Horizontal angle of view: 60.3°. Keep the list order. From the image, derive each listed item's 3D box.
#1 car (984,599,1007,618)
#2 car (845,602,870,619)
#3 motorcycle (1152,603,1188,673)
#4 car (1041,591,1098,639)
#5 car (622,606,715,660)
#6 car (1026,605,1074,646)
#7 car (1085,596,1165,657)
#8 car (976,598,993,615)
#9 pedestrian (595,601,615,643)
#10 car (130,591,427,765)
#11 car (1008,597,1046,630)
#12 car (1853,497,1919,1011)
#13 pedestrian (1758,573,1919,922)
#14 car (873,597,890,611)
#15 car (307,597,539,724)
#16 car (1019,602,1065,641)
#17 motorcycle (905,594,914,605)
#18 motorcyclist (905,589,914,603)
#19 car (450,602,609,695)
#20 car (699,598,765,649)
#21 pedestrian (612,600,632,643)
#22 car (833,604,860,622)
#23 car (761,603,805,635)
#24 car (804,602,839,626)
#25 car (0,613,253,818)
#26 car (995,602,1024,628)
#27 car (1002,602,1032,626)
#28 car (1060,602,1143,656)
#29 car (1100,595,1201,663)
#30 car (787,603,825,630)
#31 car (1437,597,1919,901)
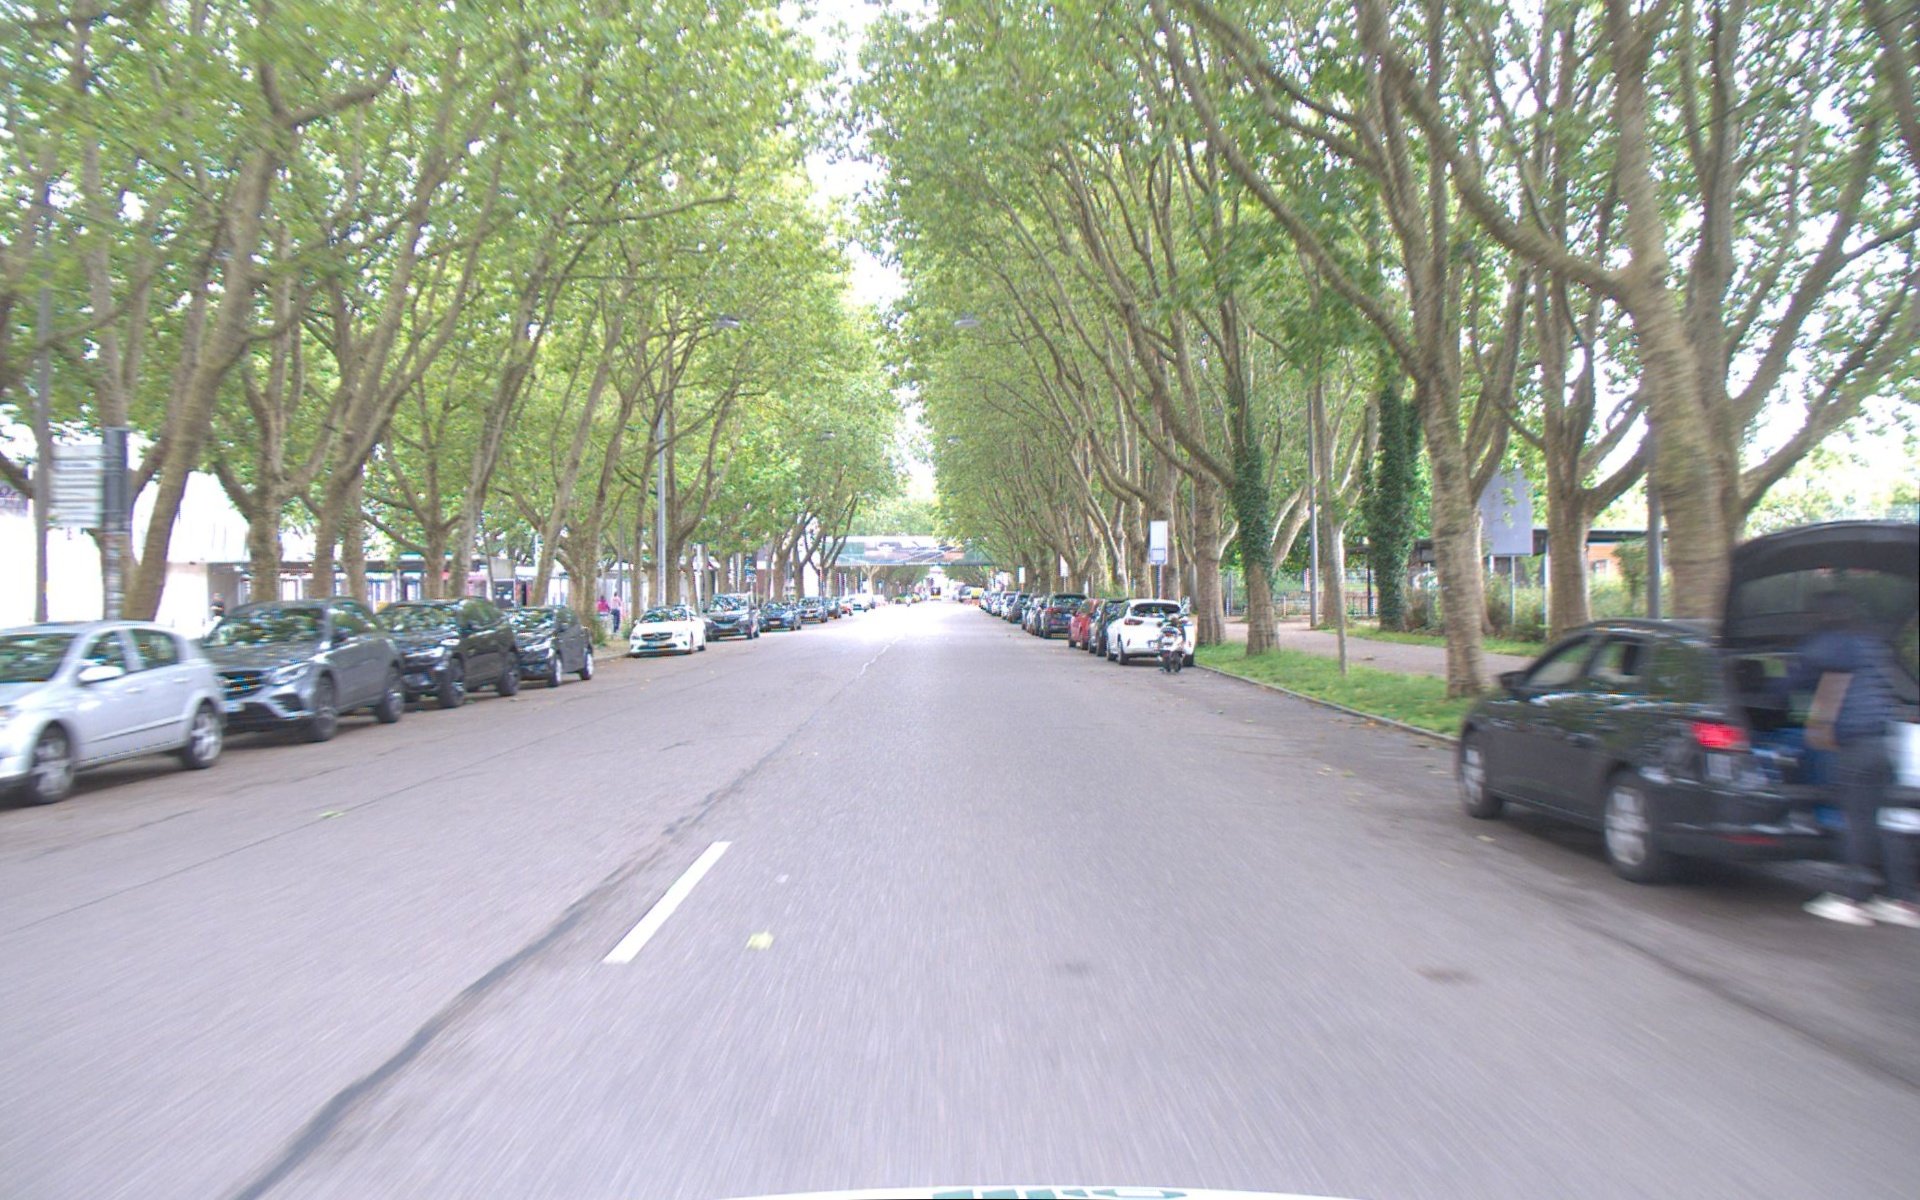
[{"bbox_3d":[2.985,0.715,139.246,1.766,1.583,3.999,-1,0,-1],"label":"car"},{"bbox_3d":[-9.414,0.958,152.587,2.031,1.590,4.755,-1,0,0],"label":"car"},{"bbox_3d":[4.198,0.743,33.037,0.697,1.355,1.994,0,0,8],"label":"motorcycle"},{"bbox_3d":[3.911,0.526,59.720,1.720,1.648,4.438,1,0,0],"label":"car"},{"bbox_3d":[-8.601,0.943,49.206,1.865,1.427,4.750,-4,0,-1],"label":"car"},{"bbox_3d":[3.577,1.000,66.245,1.634,1.535,4.353,1,0,0],"label":"car"},{"bbox_3d":[4.329,0.680,43.872,1.694,1.496,4.080,2,0,0],"label":"car"},{"bbox_3d":[2.722,0.750,185.658,1.809,1.814,5.210,1,-1,0],"label":"car"},{"bbox_3d":[-15.112,0.925,70.420,0.562,1.772,0.768,-1,0,14],"label":"pedestrian"},{"bbox_3d":[-8.070,0.839,20.110,1.832,1.747,4.645,-4,0,-4],"label":"car"},{"bbox_3d":[3.613,0.720,89.520,1.673,1.728,4.629,1,0,-2],"label":"car"},{"bbox_3d":[4.579,0.580,4.120,1.808,1.814,4.438,2,0,-9],"label":"car"},{"bbox_3d":[4.482,0.700,8.254,0.620,1.655,0.742,-1,0,-1],"label":"pedestrian"},{"bbox_3d":[-9.702,0.487,204.449,1.955,1.629,3.995,0,0,-6],"label":"car"},{"bbox_3d":[-8.268,0.861,26.003,1.898,1.671,4.928,-4,0,1],"label":"car"},{"bbox_3d":[3.743,0.966,76.014,1.741,1.702,4.636,0,0,-1],"label":"car"},{"bbox_3d":[-5.549,-0.051,181.889,0.856,1.098,3.050,0,0,-4],"label":"motorcycle"},{"bbox_3d":[-5.542,-0.482,181.874,0.853,1.506,1.264,0,0,-4],"label":"motorcyclist"},{"bbox_3d":[-8.113,0.861,31.560,1.796,1.520,4.442,-4,0,0],"label":"car"},{"bbox_3d":[-8.614,0.864,62.839,1.909,1.781,4.637,-2,0,-1],"label":"car"},{"bbox_3d":[-14.393,0.918,70.407,0.564,1.801,0.768,-1,0,14],"label":"pedestrian"},{"bbox_3d":[-8.569,0.965,125.077,1.771,1.378,4.000,-1,0,0],"label":"car"},{"bbox_3d":[-8.580,0.914,80.565,1.689,1.512,4.574,-1,0,0],"label":"car"},{"bbox_3d":[-9.224,0.922,110.314,1.789,1.491,4.628,-2,0,2],"label":"car"},{"bbox_3d":[-8.016,0.938,14.458,1.796,1.481,4.229,-4,0,-1],"label":"car"},{"bbox_3d":[3.461,1.056,116.214,1.864,1.769,4.506,0,0,-1],"label":"car"},{"bbox_3d":[3.490,0.873,102.492,1.672,1.452,3.888,1,0,0],"label":"car"},{"bbox_3d":[4.117,0.815,48.702,1.682,1.464,4.625,1,0,-4],"label":"car"},{"bbox_3d":[4.333,0.633,38.183,1.700,1.464,4.121,-1,0,-2],"label":"car"},{"bbox_3d":[-9.136,0.975,98.552,1.839,1.553,4.150,-2,0,0],"label":"car"},{"bbox_3d":[4.648,0.752,10.464,1.953,1.504,4.370,1,0,-1],"label":"car"}]
